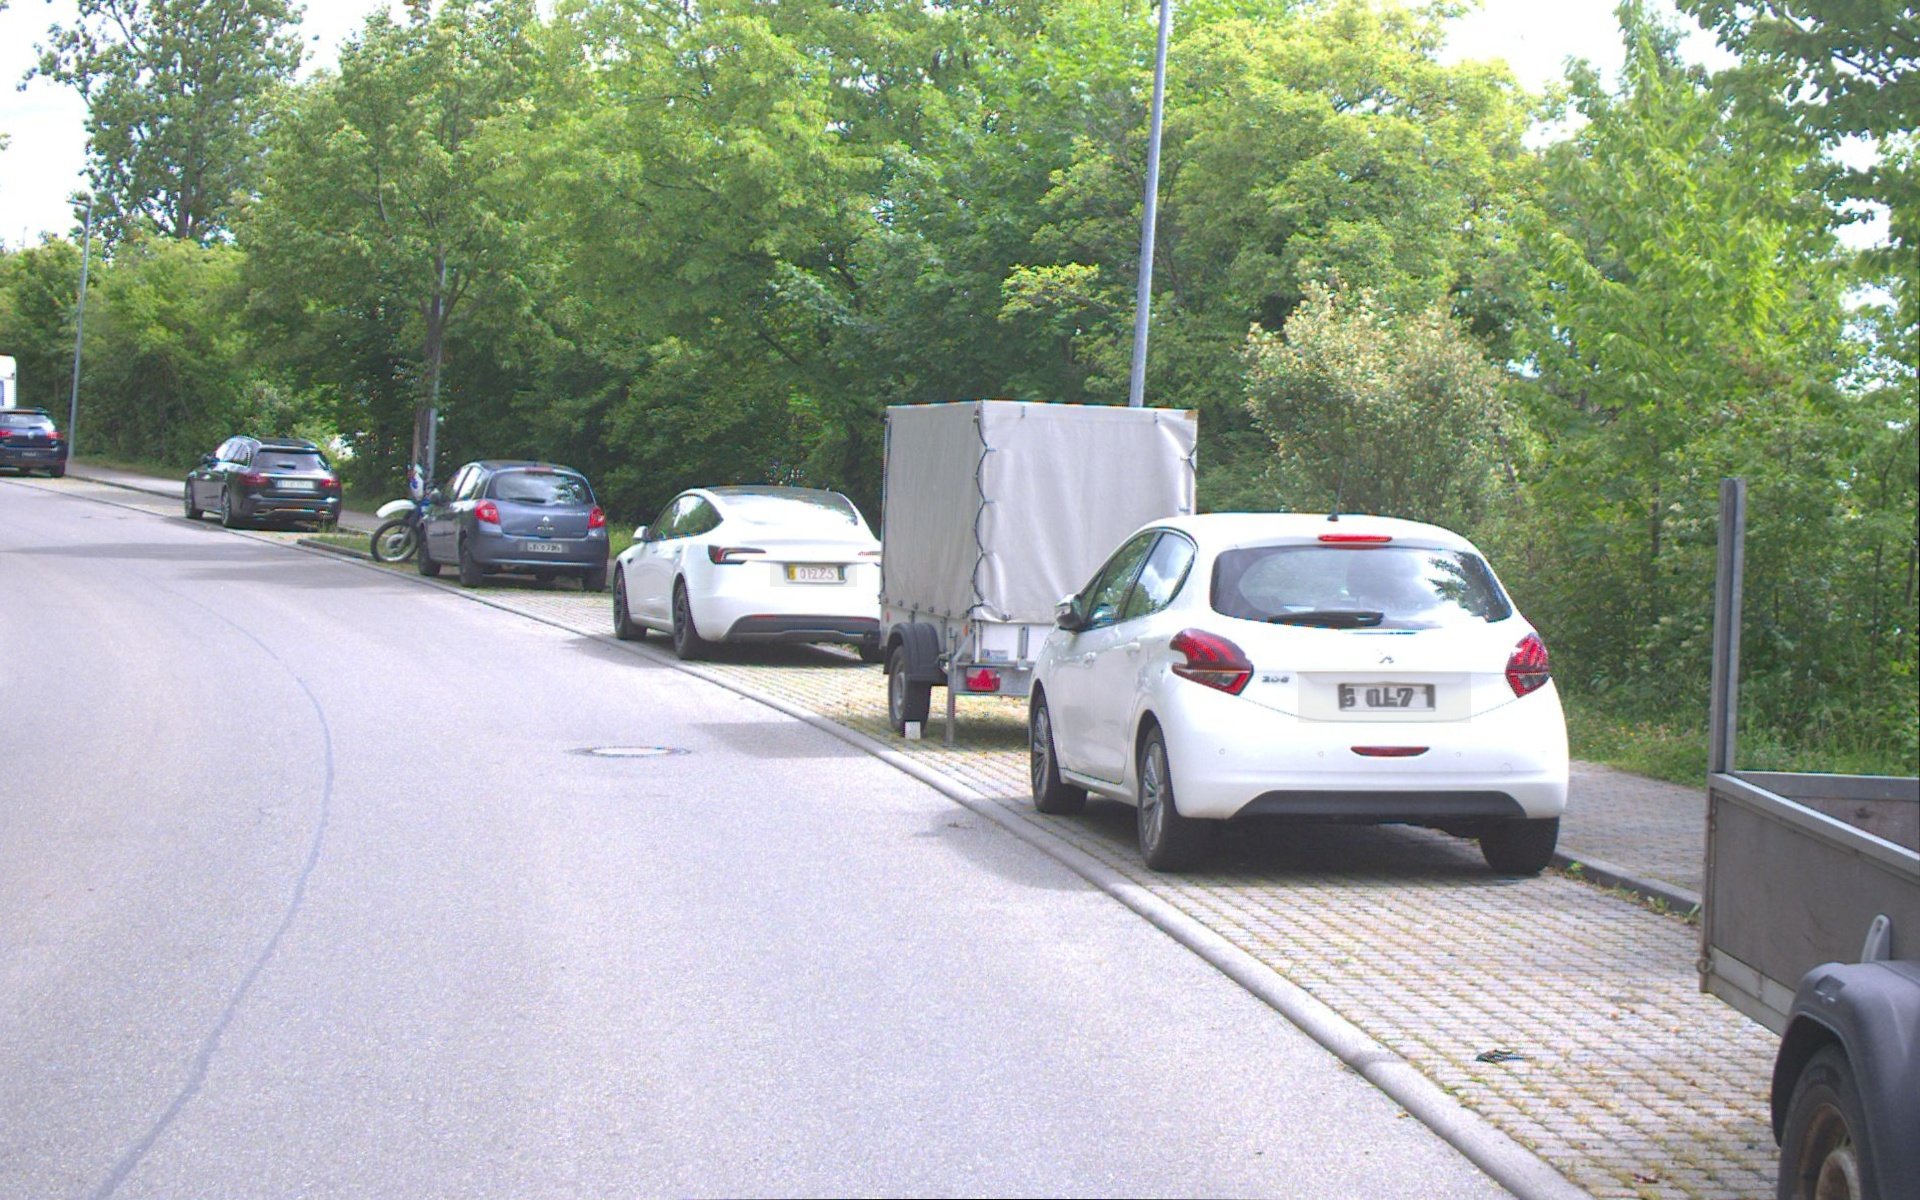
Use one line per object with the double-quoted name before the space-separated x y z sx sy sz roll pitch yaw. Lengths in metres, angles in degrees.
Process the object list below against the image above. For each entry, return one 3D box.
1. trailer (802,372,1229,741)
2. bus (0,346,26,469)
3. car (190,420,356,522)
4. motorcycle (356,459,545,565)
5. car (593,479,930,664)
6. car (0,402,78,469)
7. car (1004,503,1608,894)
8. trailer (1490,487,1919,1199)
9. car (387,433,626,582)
"trailer" 0.242 -0.320 21.816 1.739 2.104 4.002 1 2 -13
"bus" -23.206 -4.582 78.044 2.537 2.682 5.245 6 2 -28
"car" -11.165 -2.114 55.695 1.841 1.511 4.002 1 3 -23
"motorcycle" -6.635 -1.160 44.781 2.169 1.261 1.069 3 4 19
"car" -1.813 -0.295 29.870 1.885 1.371 4.353 2 2 -17
"car" -20.024 -3.525 72.856 1.841 1.327 4.001 1 3 -25
"car" 1.383 0.336 15.395 1.768 1.406 4.002 1 3 -8
"trailer" 2.277 0.598 6.177 1.784 1.520 4.001 2 2 -3
"car" -5.544 -1.168 41.564 1.886 1.681 4.353 -1 3 -21
